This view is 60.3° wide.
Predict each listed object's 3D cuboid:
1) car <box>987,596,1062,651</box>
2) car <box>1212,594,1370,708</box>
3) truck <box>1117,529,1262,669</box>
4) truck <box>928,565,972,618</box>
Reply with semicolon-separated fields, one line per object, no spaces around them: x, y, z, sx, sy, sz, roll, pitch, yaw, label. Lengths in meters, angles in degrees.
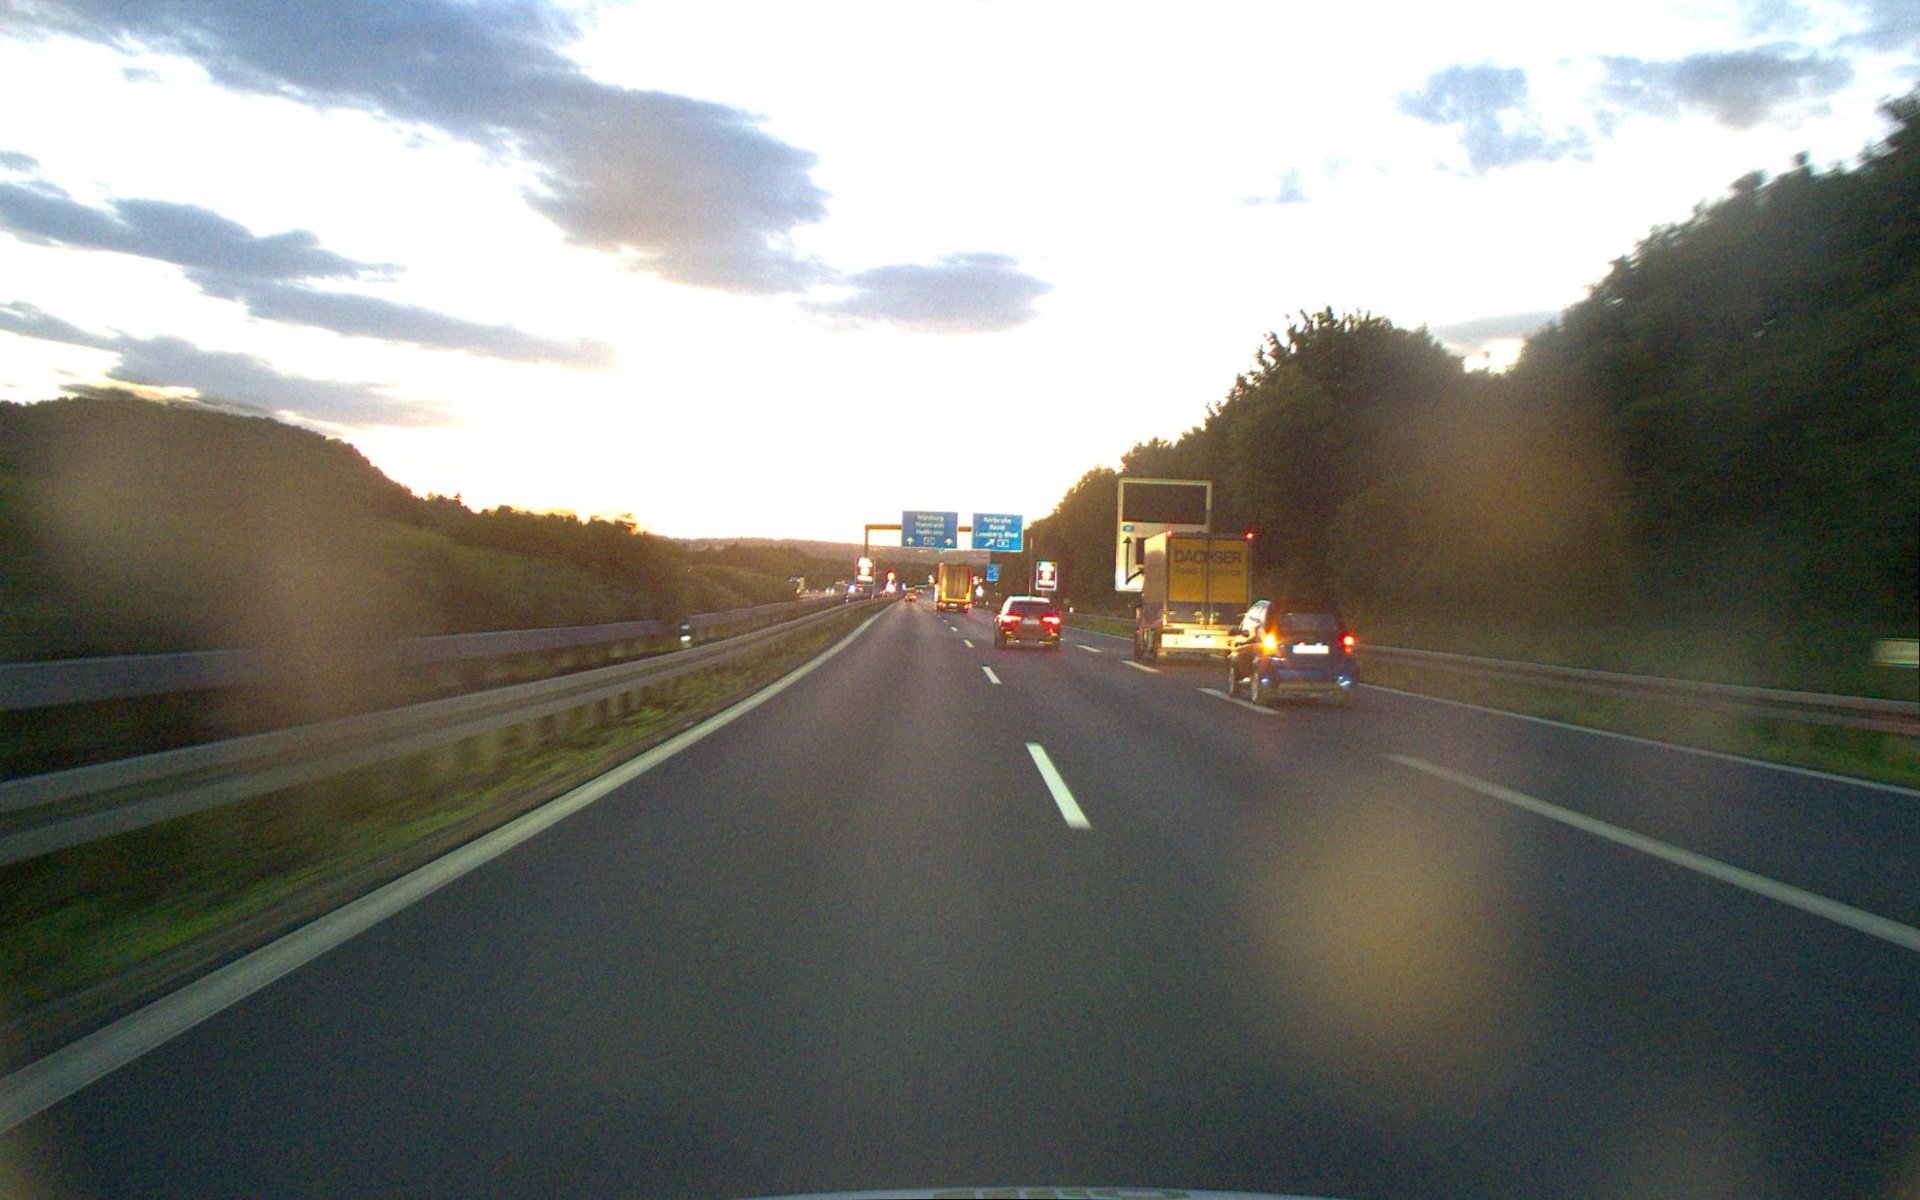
1.816;0.656;47.781;1.876;1.467;3.998;1;0;-2;car
4.989;0.741;25.299;1.578;1.583;3.316;1;0;-3;car
5.522;-0.040;40.801;2.223;3.023;6.628;4;0;-2;truck
-0.964;-0.700;145.174;3.439;4.376;9.886;1;0;-2;truck
